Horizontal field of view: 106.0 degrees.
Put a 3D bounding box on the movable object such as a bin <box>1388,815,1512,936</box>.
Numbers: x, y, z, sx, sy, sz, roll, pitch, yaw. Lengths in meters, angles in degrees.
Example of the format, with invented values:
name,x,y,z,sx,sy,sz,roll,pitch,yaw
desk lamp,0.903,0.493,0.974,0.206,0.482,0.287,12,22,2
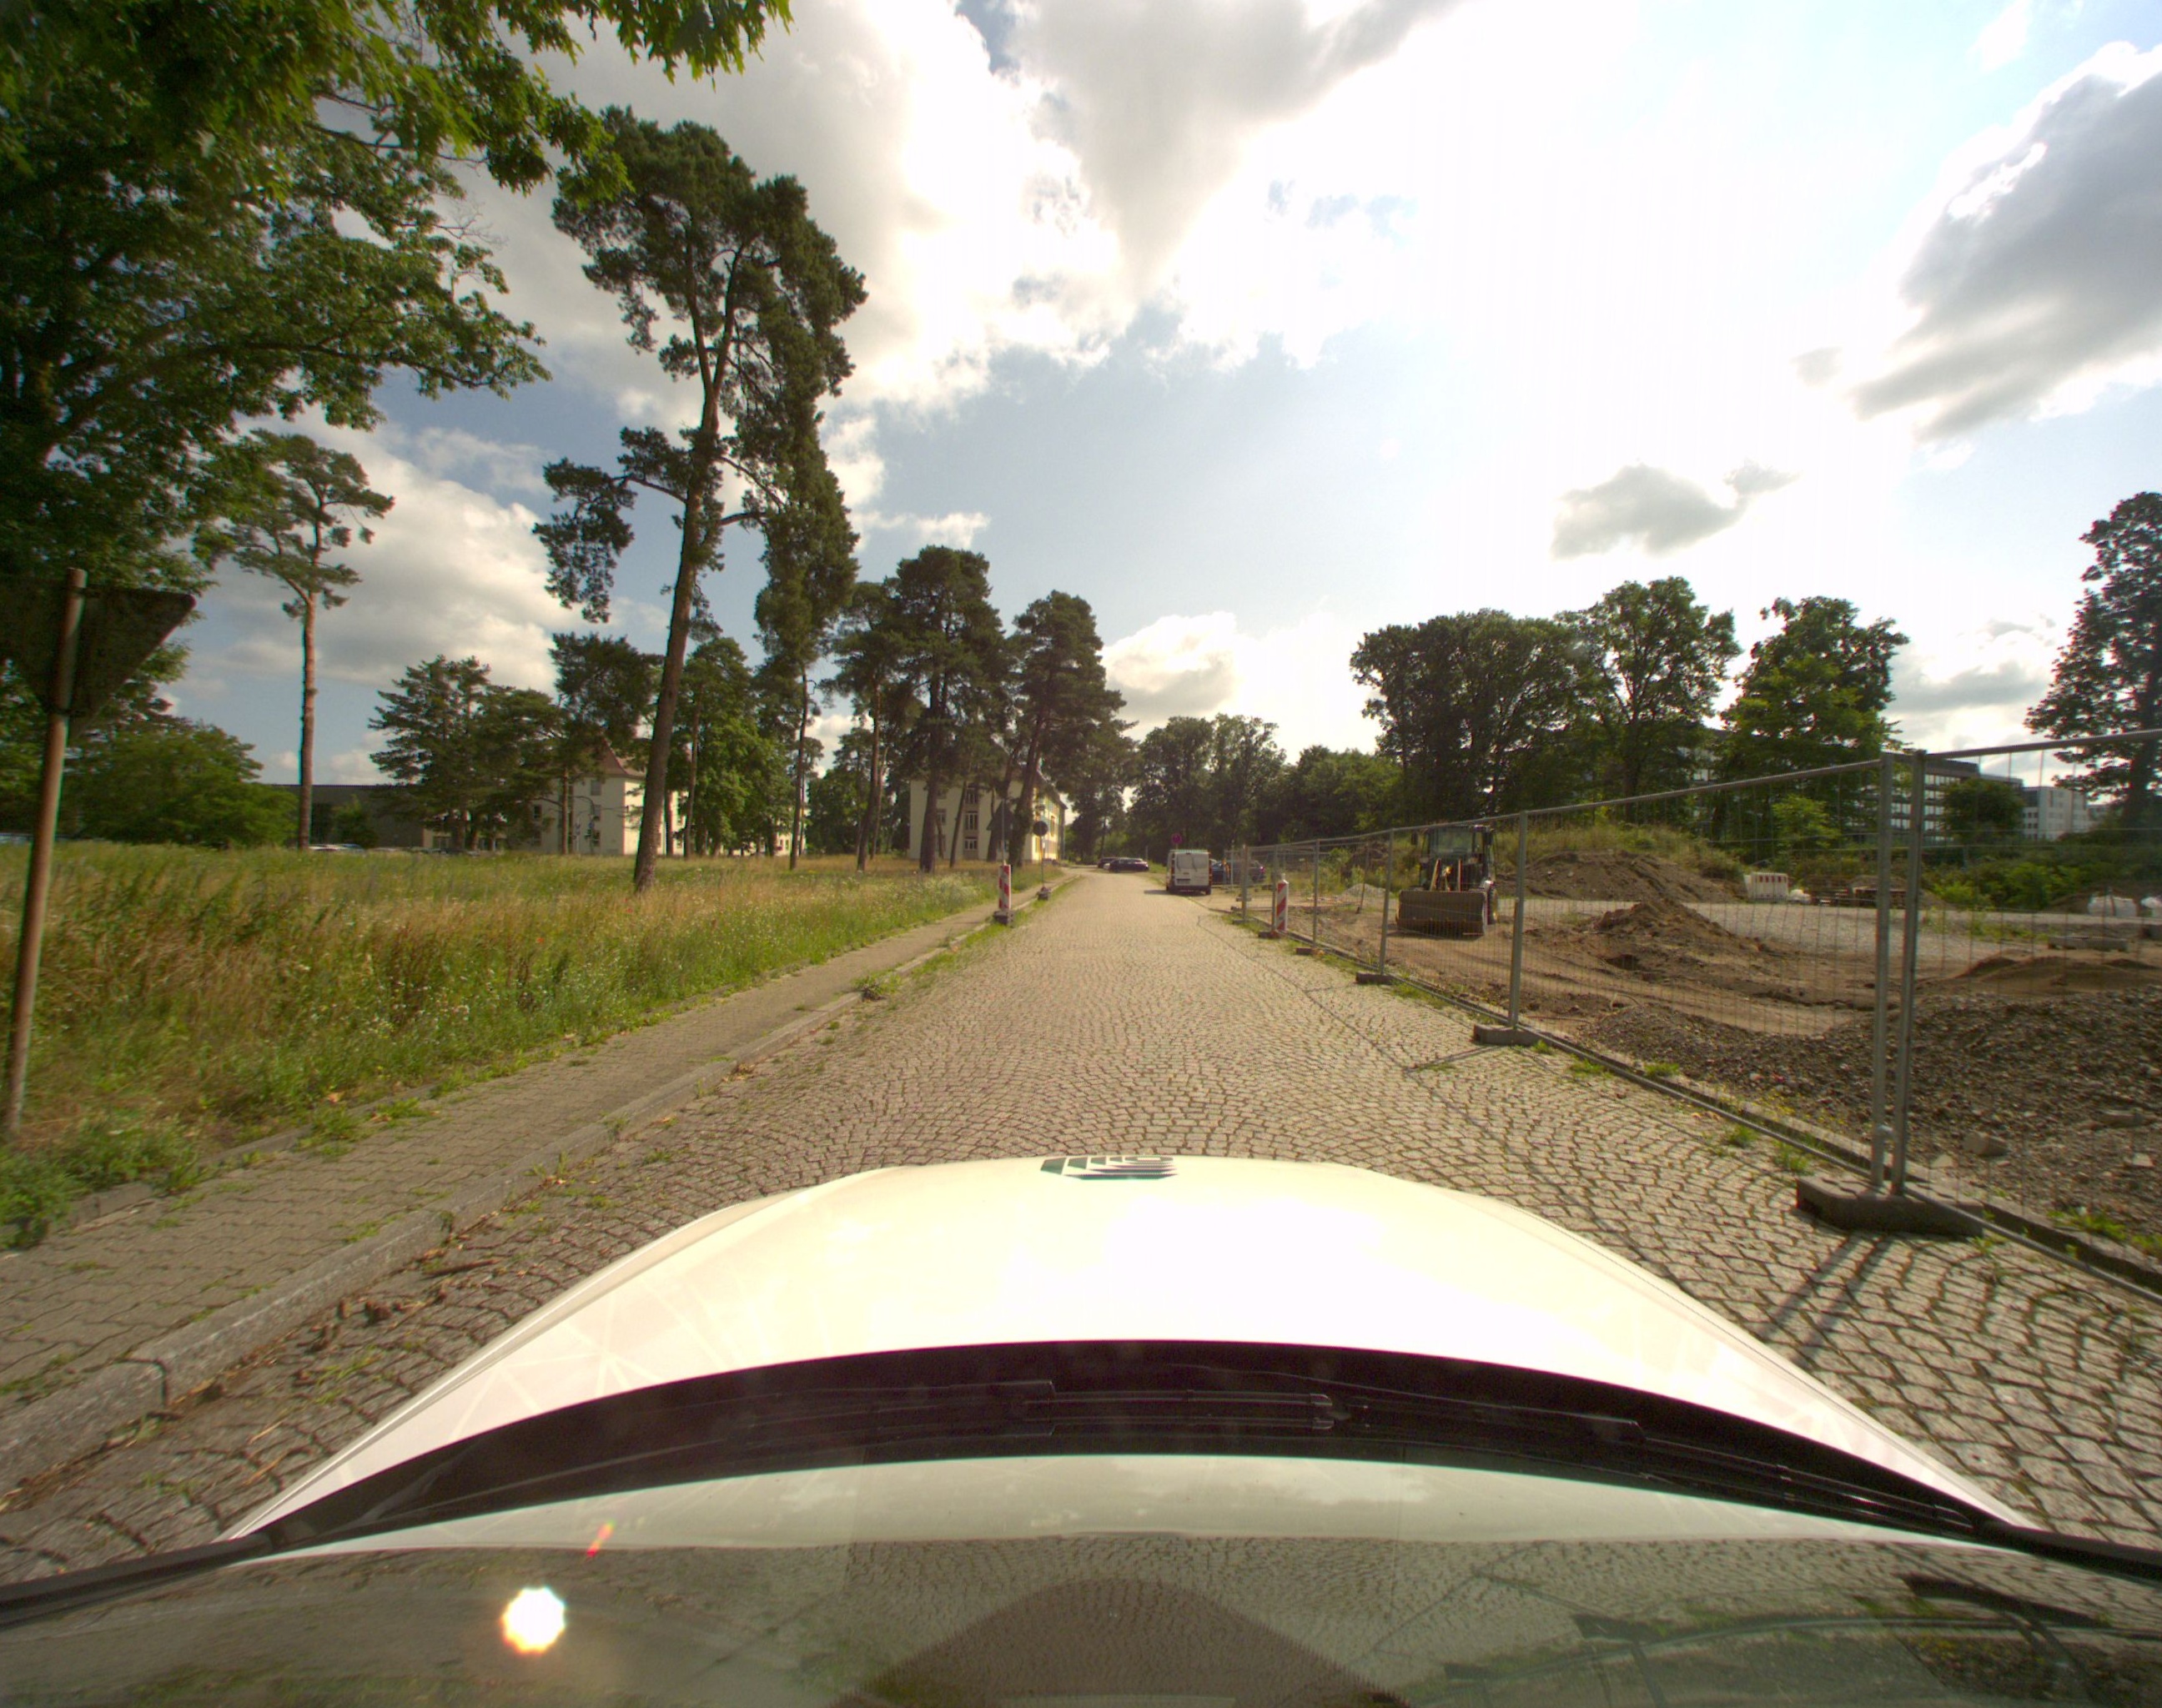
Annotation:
name,x,y,z,sx,sy,sz,roll,pitch,yaw
movable object such as a bin,9.153,0.419,19.875,2.122,2.521,5.691,0,0,31

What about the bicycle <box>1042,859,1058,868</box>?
name,x,y,z,sx,sy,sz,roll,pitch,yaw
bicycle,-4.294,1.376,113.997,2.212,1.260,0.624,0,-1,4

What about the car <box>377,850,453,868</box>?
name,x,y,z,sx,sy,sz,roll,pitch,yaw
car,-49.505,0.395,60.545,4.052,1.320,1.901,0,-1,1

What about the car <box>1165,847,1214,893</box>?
name,x,y,z,sx,sy,sz,roll,pitch,yaw
car,5.069,0.733,38.756,1.906,2.053,5.683,0,-1,3

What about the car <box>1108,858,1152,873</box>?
name,x,y,z,sx,sy,sz,roll,pitch,yaw
car,5.160,1.200,86.044,4.319,1.500,1.826,-1,0,-6

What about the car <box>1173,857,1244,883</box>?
name,x,y,z,sx,sy,sz,roll,pitch,yaw
car,7.681,0.964,49.284,3.974,1.507,1.746,-1,-1,-1

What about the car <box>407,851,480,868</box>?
name,x,y,z,sx,sy,sz,roll,pitch,yaw
car,-49.207,0.422,62.920,4.052,1.309,1.901,0,-1,1

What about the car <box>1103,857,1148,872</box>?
name,x,y,z,sx,sy,sz,roll,pitch,yaw
car,4.846,1.151,89.239,4.845,1.472,1.874,-1,0,0

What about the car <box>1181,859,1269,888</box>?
name,x,y,z,sx,sy,sz,roll,pitch,yaw
car,7.825,1.036,44.555,4.442,1.475,1.744,-1,-1,-3

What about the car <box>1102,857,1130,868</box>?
name,x,y,z,sx,sy,sz,roll,pitch,yaw
car,5.420,1.349,124.735,4.169,1.543,1.822,-1,-1,3
